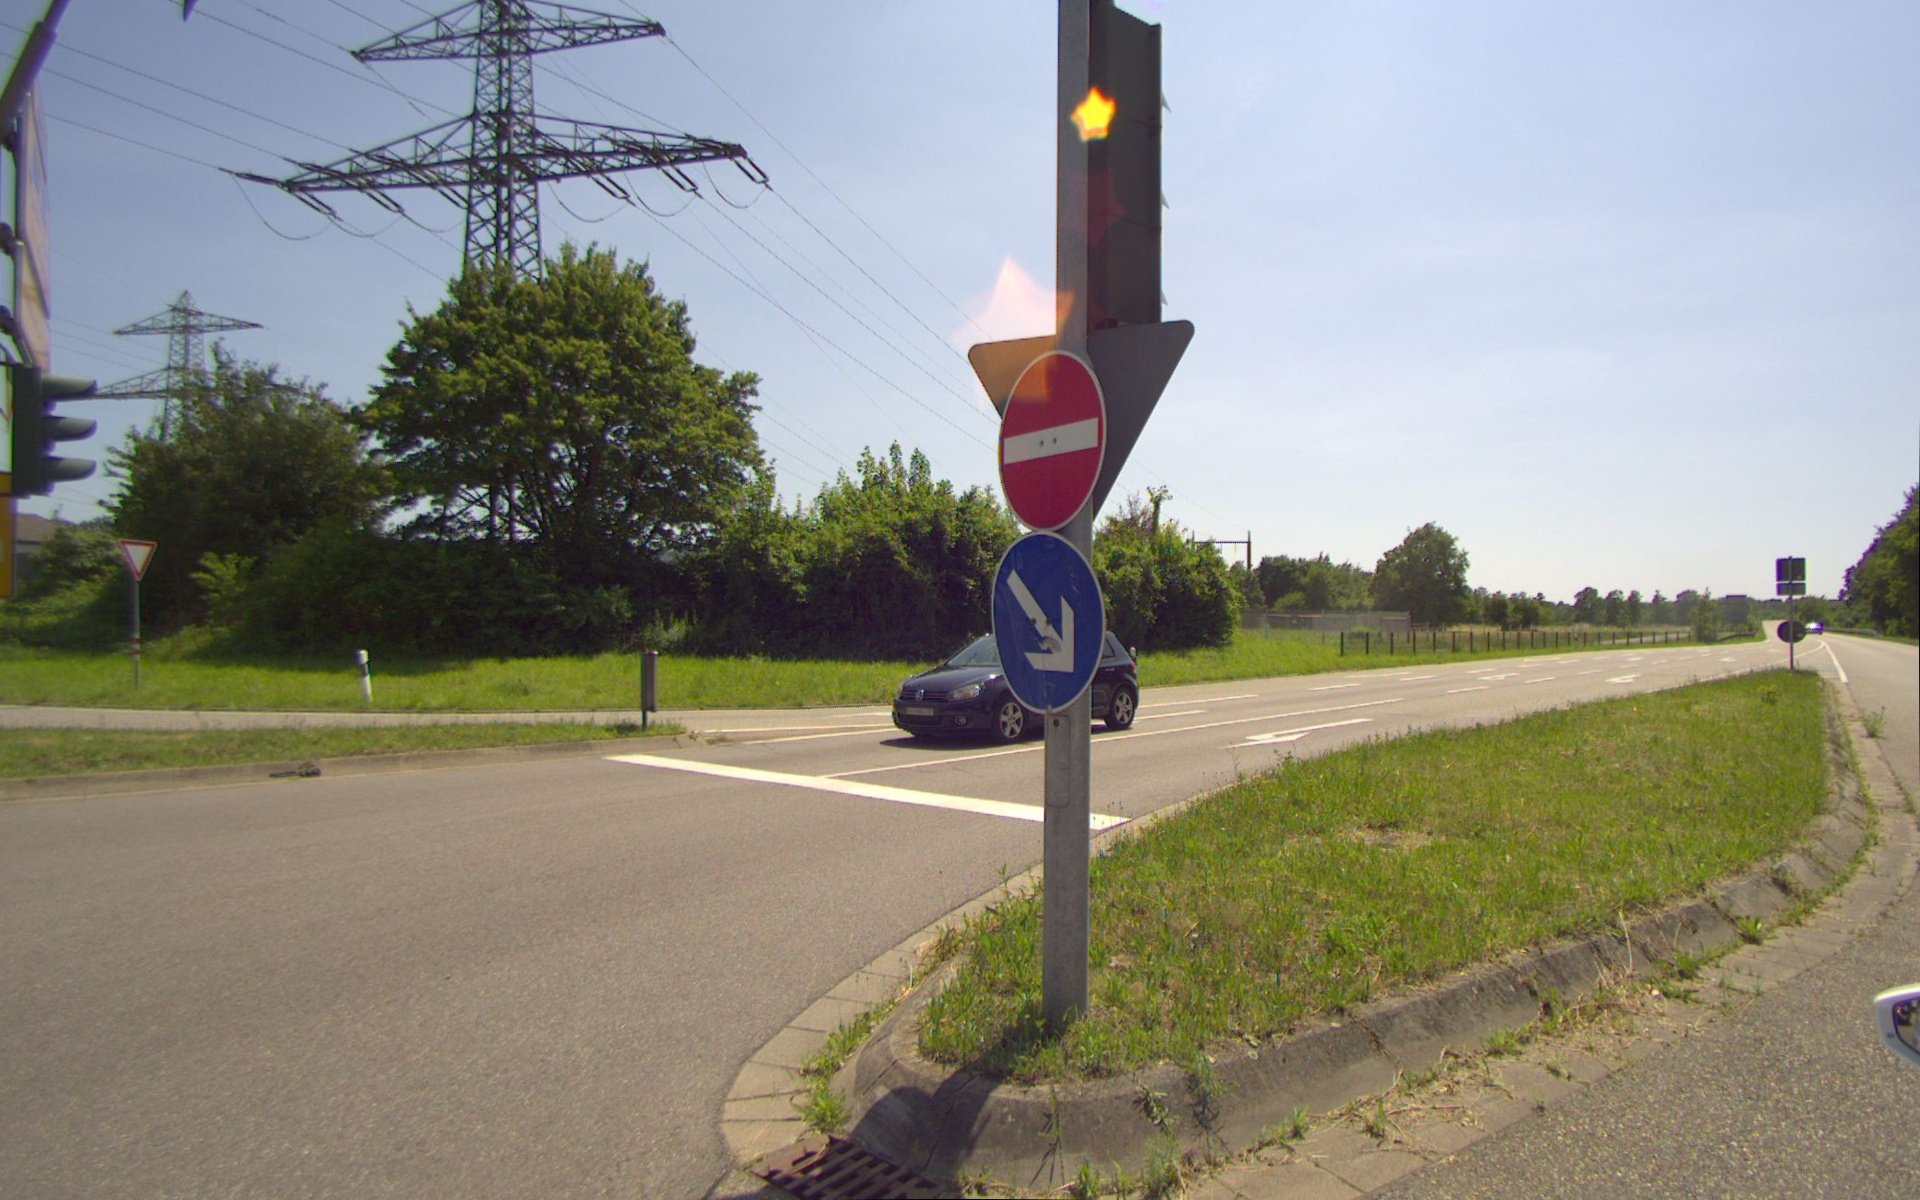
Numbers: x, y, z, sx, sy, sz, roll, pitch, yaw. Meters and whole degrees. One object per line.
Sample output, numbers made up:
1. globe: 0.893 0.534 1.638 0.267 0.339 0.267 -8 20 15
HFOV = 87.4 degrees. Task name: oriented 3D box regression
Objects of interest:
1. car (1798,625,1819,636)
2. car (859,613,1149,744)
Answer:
1. car: 112.119 4.028 132.666 1.971 1.391 4.756 0 -2 42
2. car: 0.733 1.033 14.050 1.718 1.551 4.141 -5 -5 44
